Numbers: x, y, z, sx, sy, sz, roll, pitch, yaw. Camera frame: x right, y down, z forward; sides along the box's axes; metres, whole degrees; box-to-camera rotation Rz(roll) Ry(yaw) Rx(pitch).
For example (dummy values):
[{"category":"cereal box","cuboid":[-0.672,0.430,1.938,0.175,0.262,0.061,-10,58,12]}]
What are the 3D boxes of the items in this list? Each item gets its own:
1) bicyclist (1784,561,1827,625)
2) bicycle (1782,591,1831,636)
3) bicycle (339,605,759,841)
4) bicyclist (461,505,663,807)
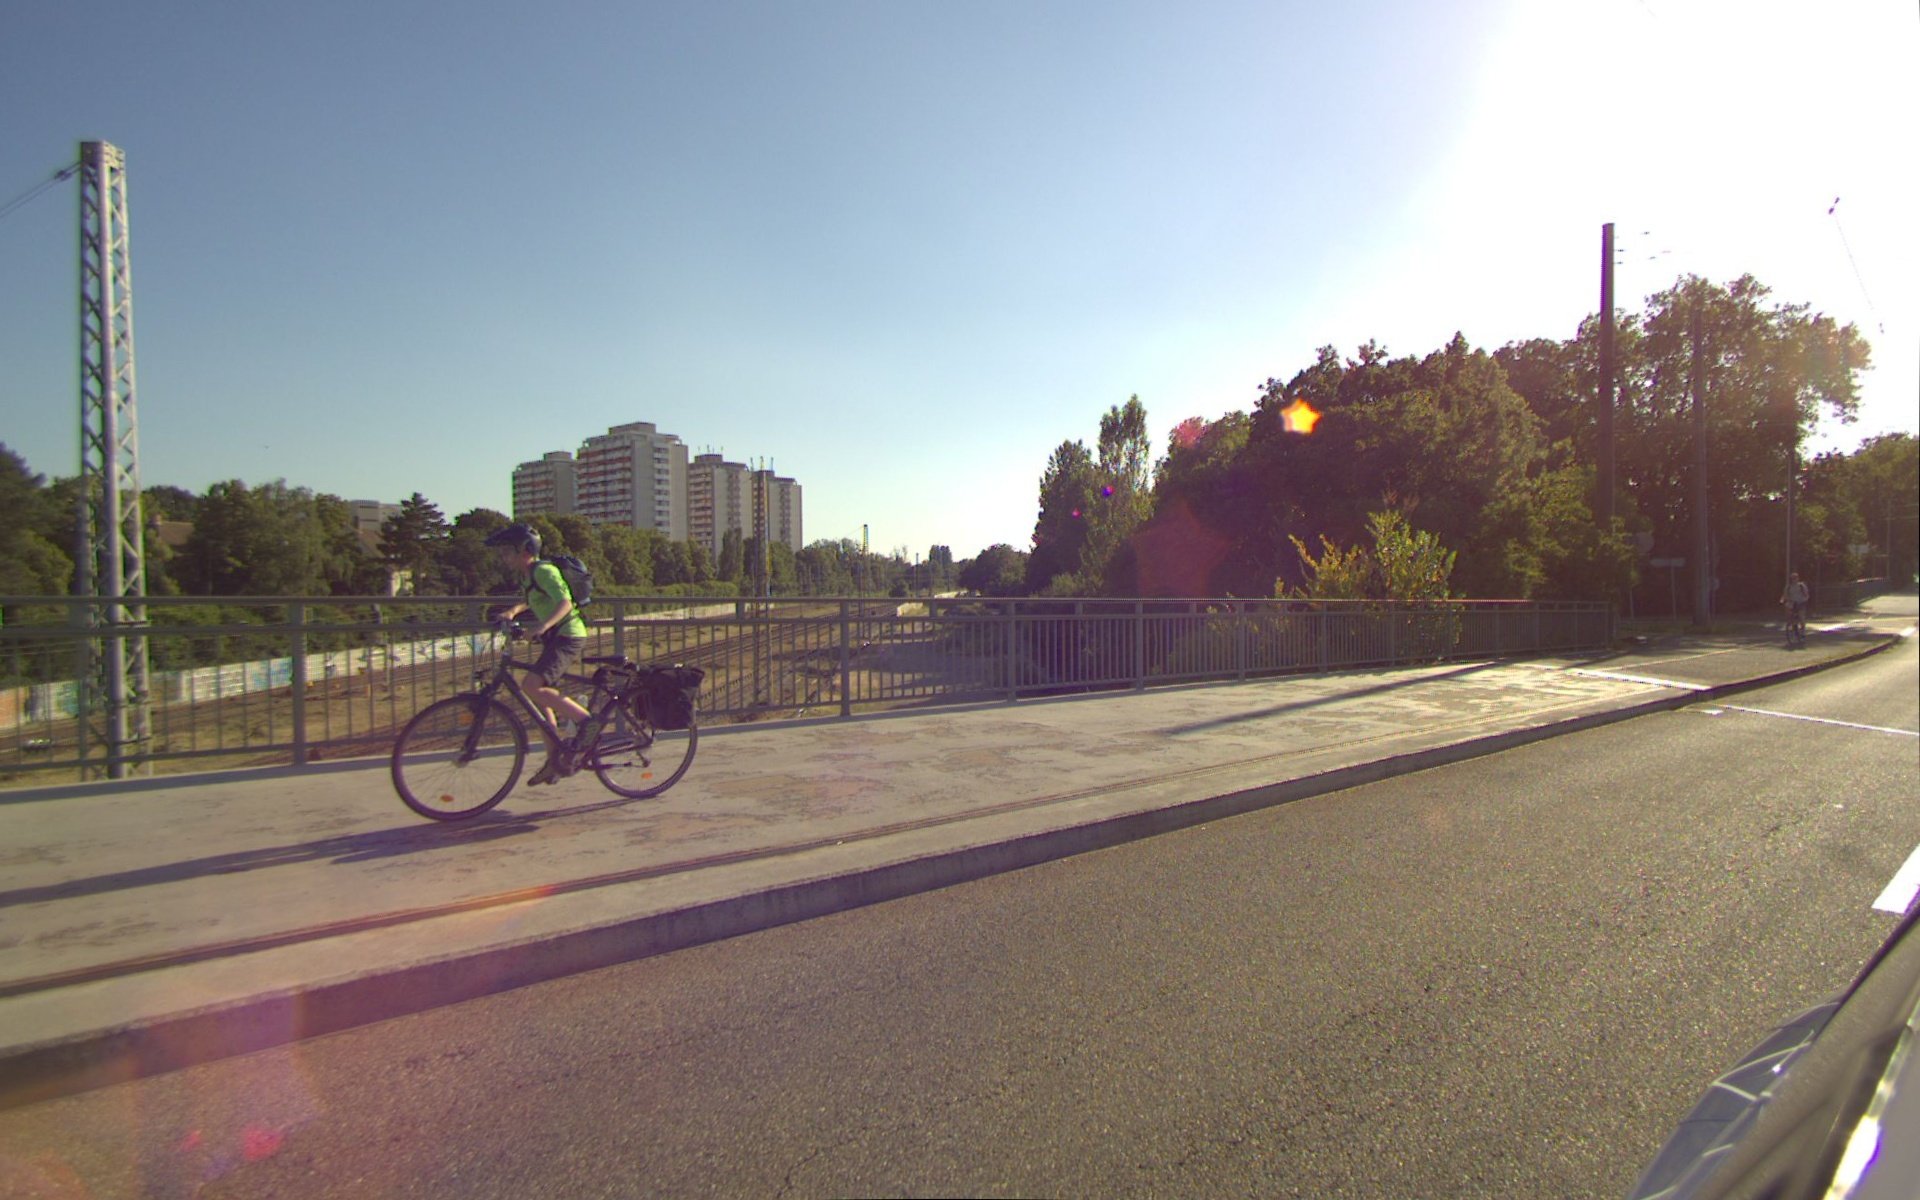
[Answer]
[{"category":"bicyclist","cuboid":[23.432,-0.196,28.046,1.182,1.711,0.731,-1,-2,-44]},{"category":"bicycle","cuboid":[23.442,0.353,28.006,2.697,1.137,0.731,-1,-1,-44]},{"category":"bicycle","cuboid":[-2.314,0.609,5.930,2.177,1.137,0.684,0,0,-41]},{"category":"bicyclist","cuboid":[-2.325,0.290,5.910,0.881,1.582,0.813,0,0,-41]}]
